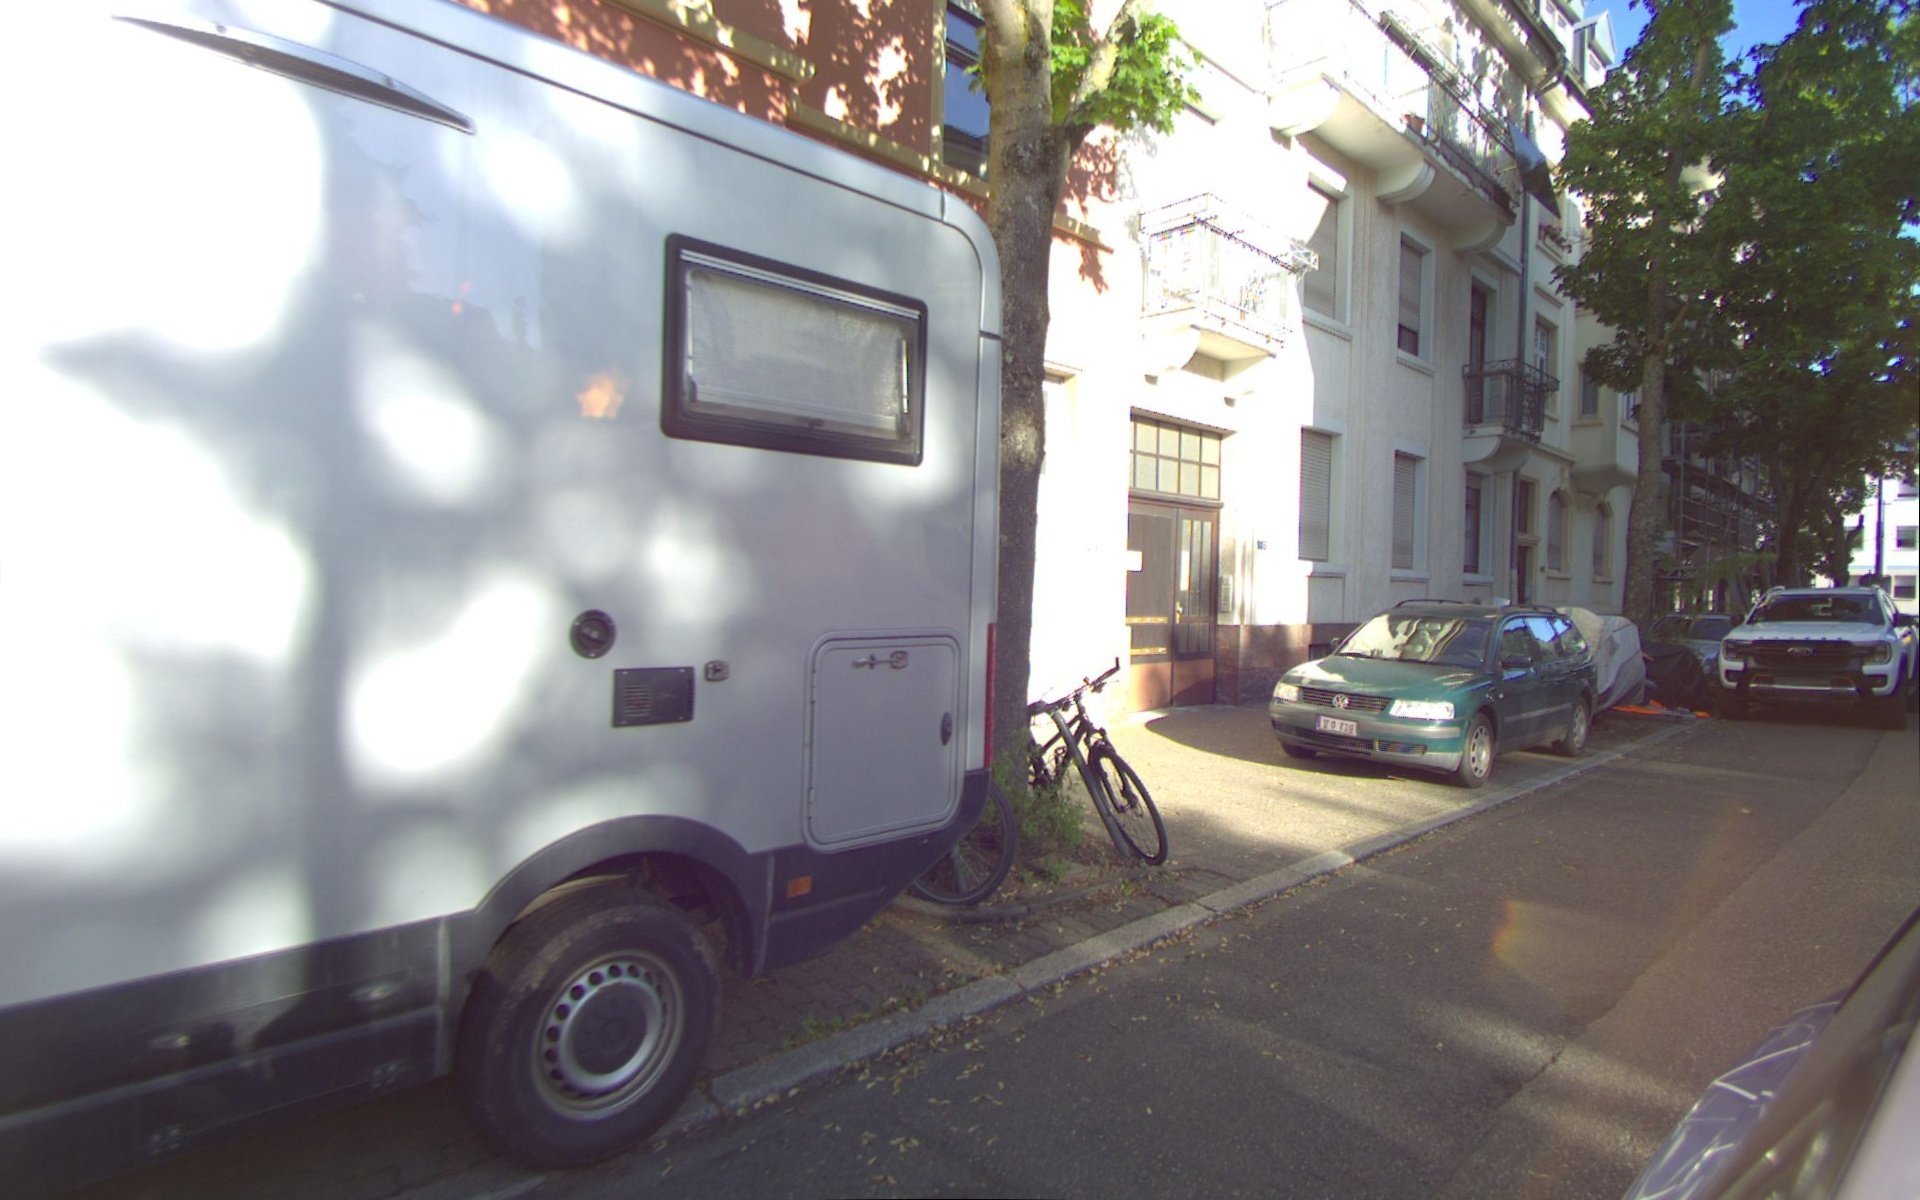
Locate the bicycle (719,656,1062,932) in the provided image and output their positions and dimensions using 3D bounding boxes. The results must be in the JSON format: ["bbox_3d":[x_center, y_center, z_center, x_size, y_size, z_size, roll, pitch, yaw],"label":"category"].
[{"bbox_3d":[-0.396,0.855,5.045,1.701,1.012,0.696,2,1,41],"label":"bicycle"}]

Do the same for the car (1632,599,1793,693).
[{"bbox_3d":[13.985,0.763,18.706,4.357,1.439,1.682,0,3,-44],"label":"car"}]

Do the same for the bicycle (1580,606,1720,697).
[{"bbox_3d":[11.025,0.792,16.215,0.576,1.321,1.760,1,1,-45],"label":"bicycle"}]

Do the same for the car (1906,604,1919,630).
[{"bbox_3d":[58.540,1.053,59.243,4.475,1.526,1.916,2,1,41],"label":"car"}]

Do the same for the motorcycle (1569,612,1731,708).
[{"bbox_3d":[9.708,0.822,14.291,1.735,1.256,0.701,1,0,8],"label":"motorcycle"}]

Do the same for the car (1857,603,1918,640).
[{"bbox_3d":[41.156,0.930,44.889,4.433,1.424,1.663,0,4,-44],"label":"car"}]

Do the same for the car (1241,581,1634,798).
[{"bbox_3d":[4.769,0.660,9.723,4.700,1.548,1.753,0,2,-43],"label":"car"}]

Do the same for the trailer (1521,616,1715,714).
[{"bbox_3d":[8.676,0.812,13.450,2.072,1.126,1.102,1,0,33],"label":"trailer"}]

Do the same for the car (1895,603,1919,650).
[{"bbox_3d":[33.243,0.895,34.413,3.896,1.555,1.805,0,0,-43],"label":"car"}]

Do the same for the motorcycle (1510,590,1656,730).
[{"bbox_3d":[7.430,0.656,12.023,2.102,1.504,0.931,1,0,-43],"label":"motorcycle"}]

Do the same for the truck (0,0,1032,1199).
[{"bbox_3d":[-2.672,-0.194,2.223,6.009,3.004,2.076,1,3,-45],"label":"truck"}]

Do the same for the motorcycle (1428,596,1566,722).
[{"bbox_3d":[6.768,0.684,12.699,2.196,1.434,0.862,1,0,-43],"label":"motorcycle"}]

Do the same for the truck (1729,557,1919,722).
[{"bbox_3d":[12.823,0.469,14.657,5.448,1.973,1.830,1,1,-44],"label":"truck"}]

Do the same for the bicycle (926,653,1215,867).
[{"bbox_3d":[0.588,0.861,6.021,0.569,0.961,1.788,1,1,-41],"label":"bicycle"}]
